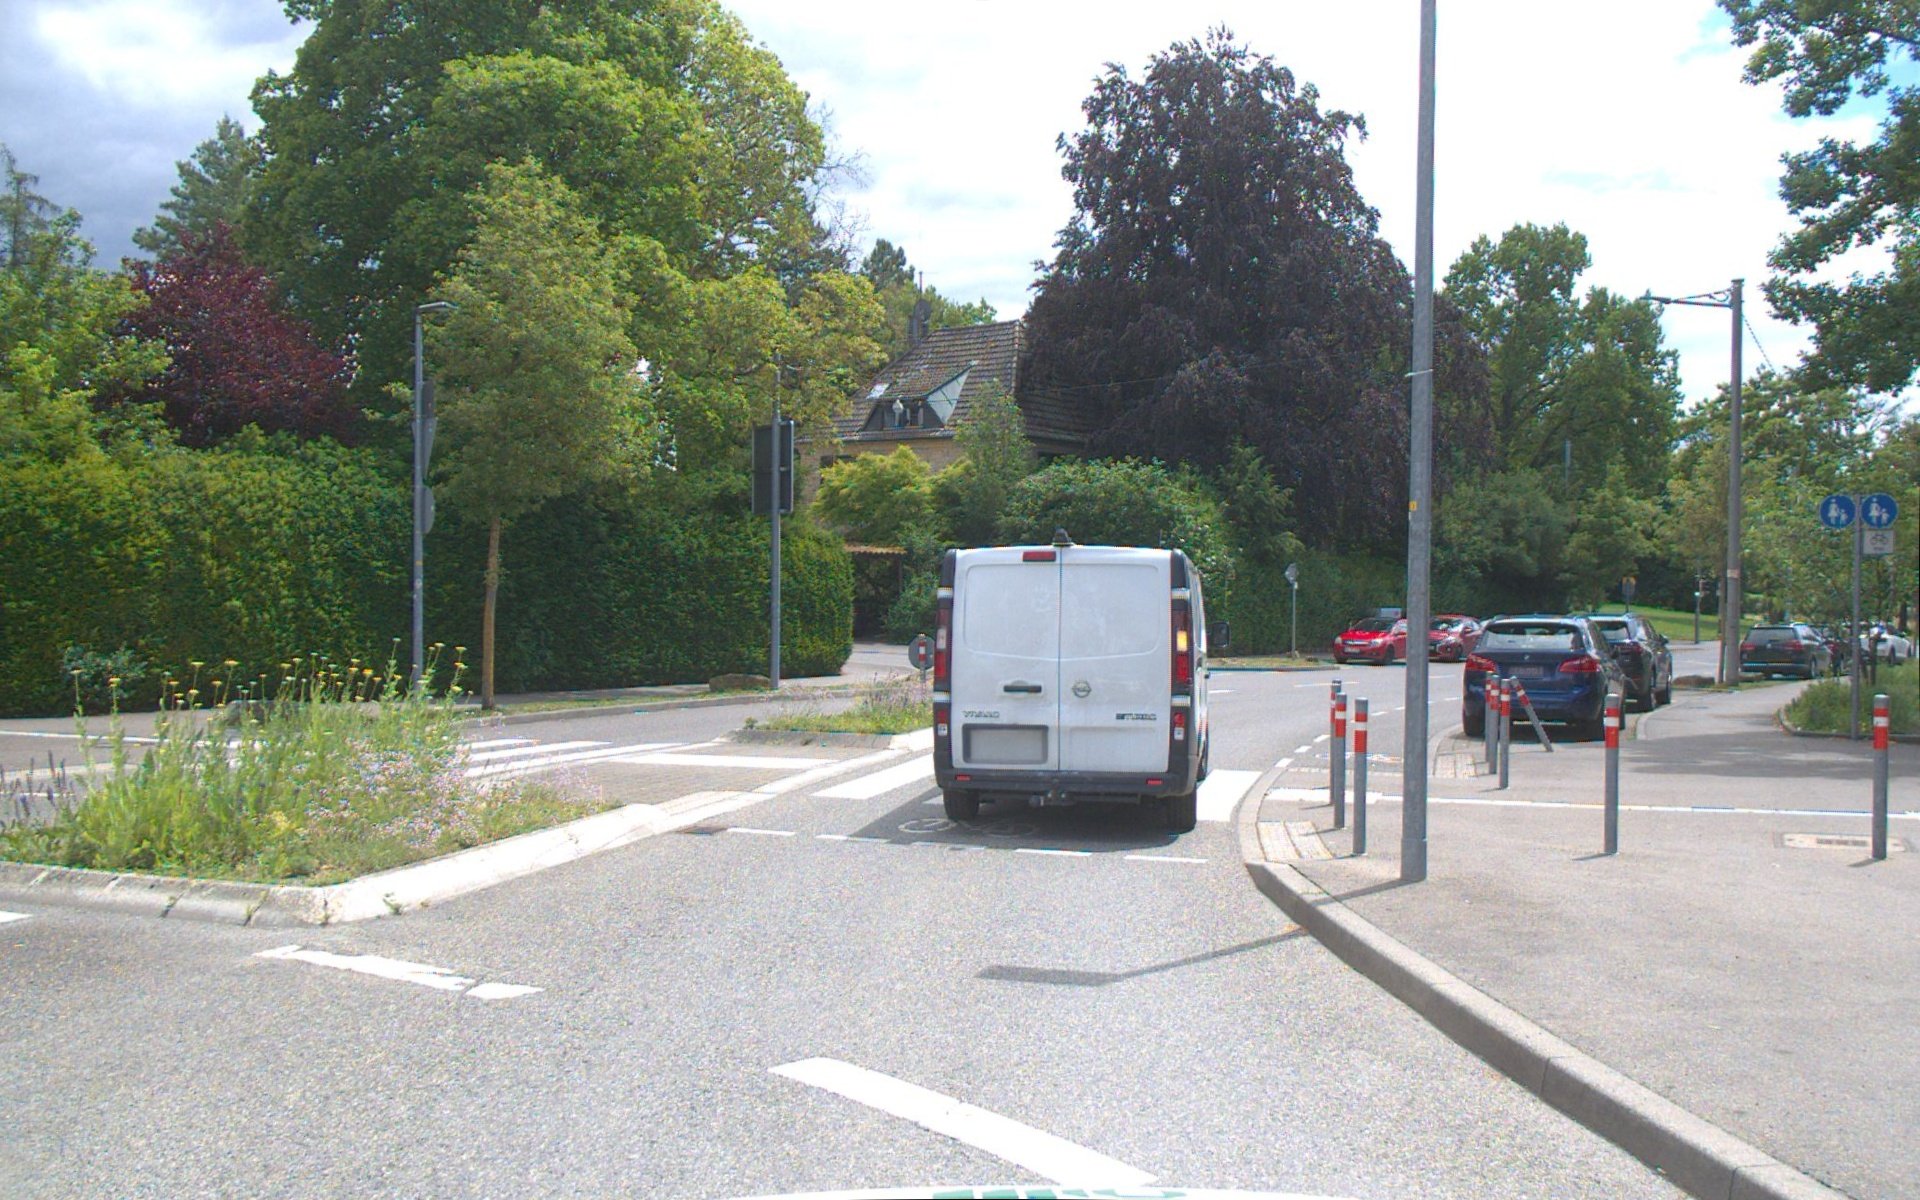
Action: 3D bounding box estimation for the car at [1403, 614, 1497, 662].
[{"bbox_3d":[16.475,1.275,55.498,1.623,1.476,4.086,2,1,38],"label":"car"}]

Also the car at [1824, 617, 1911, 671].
[{"bbox_3d":[29.160,1.413,53.092,1.709,1.645,4.365,-2,-2,39],"label":"car"}]

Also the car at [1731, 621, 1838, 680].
[{"bbox_3d":[22.434,1.349,44.905,1.735,1.503,4.915,-2,-2,36],"label":"car"}]

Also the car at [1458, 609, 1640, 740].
[{"bbox_3d":[8.165,0.954,22.703,1.879,1.606,4.425,-1,-1,26],"label":"car"}]

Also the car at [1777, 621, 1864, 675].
[{"bbox_3d":[25.458,1.397,48.894,1.543,1.519,3.980,0,-1,39],"label":"car"}]

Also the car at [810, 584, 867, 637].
[{"bbox_3d":[-3.794,0.299,51.803,1.689,1.536,3.997,2,1,-4],"label":"car"}]

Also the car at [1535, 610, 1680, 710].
[{"bbox_3d":[11.793,1.037,29.939,1.843,1.650,4.839,-1,-1,29],"label":"car"}]

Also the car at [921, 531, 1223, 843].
[{"bbox_3d":[1.099,0.562,13.261,1.897,1.995,4.837,1,0,10],"label":"car"}]

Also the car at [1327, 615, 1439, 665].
[{"bbox_3d":[13.179,1.231,51.374,1.635,1.402,4.543,2,1,39],"label":"car"}]
